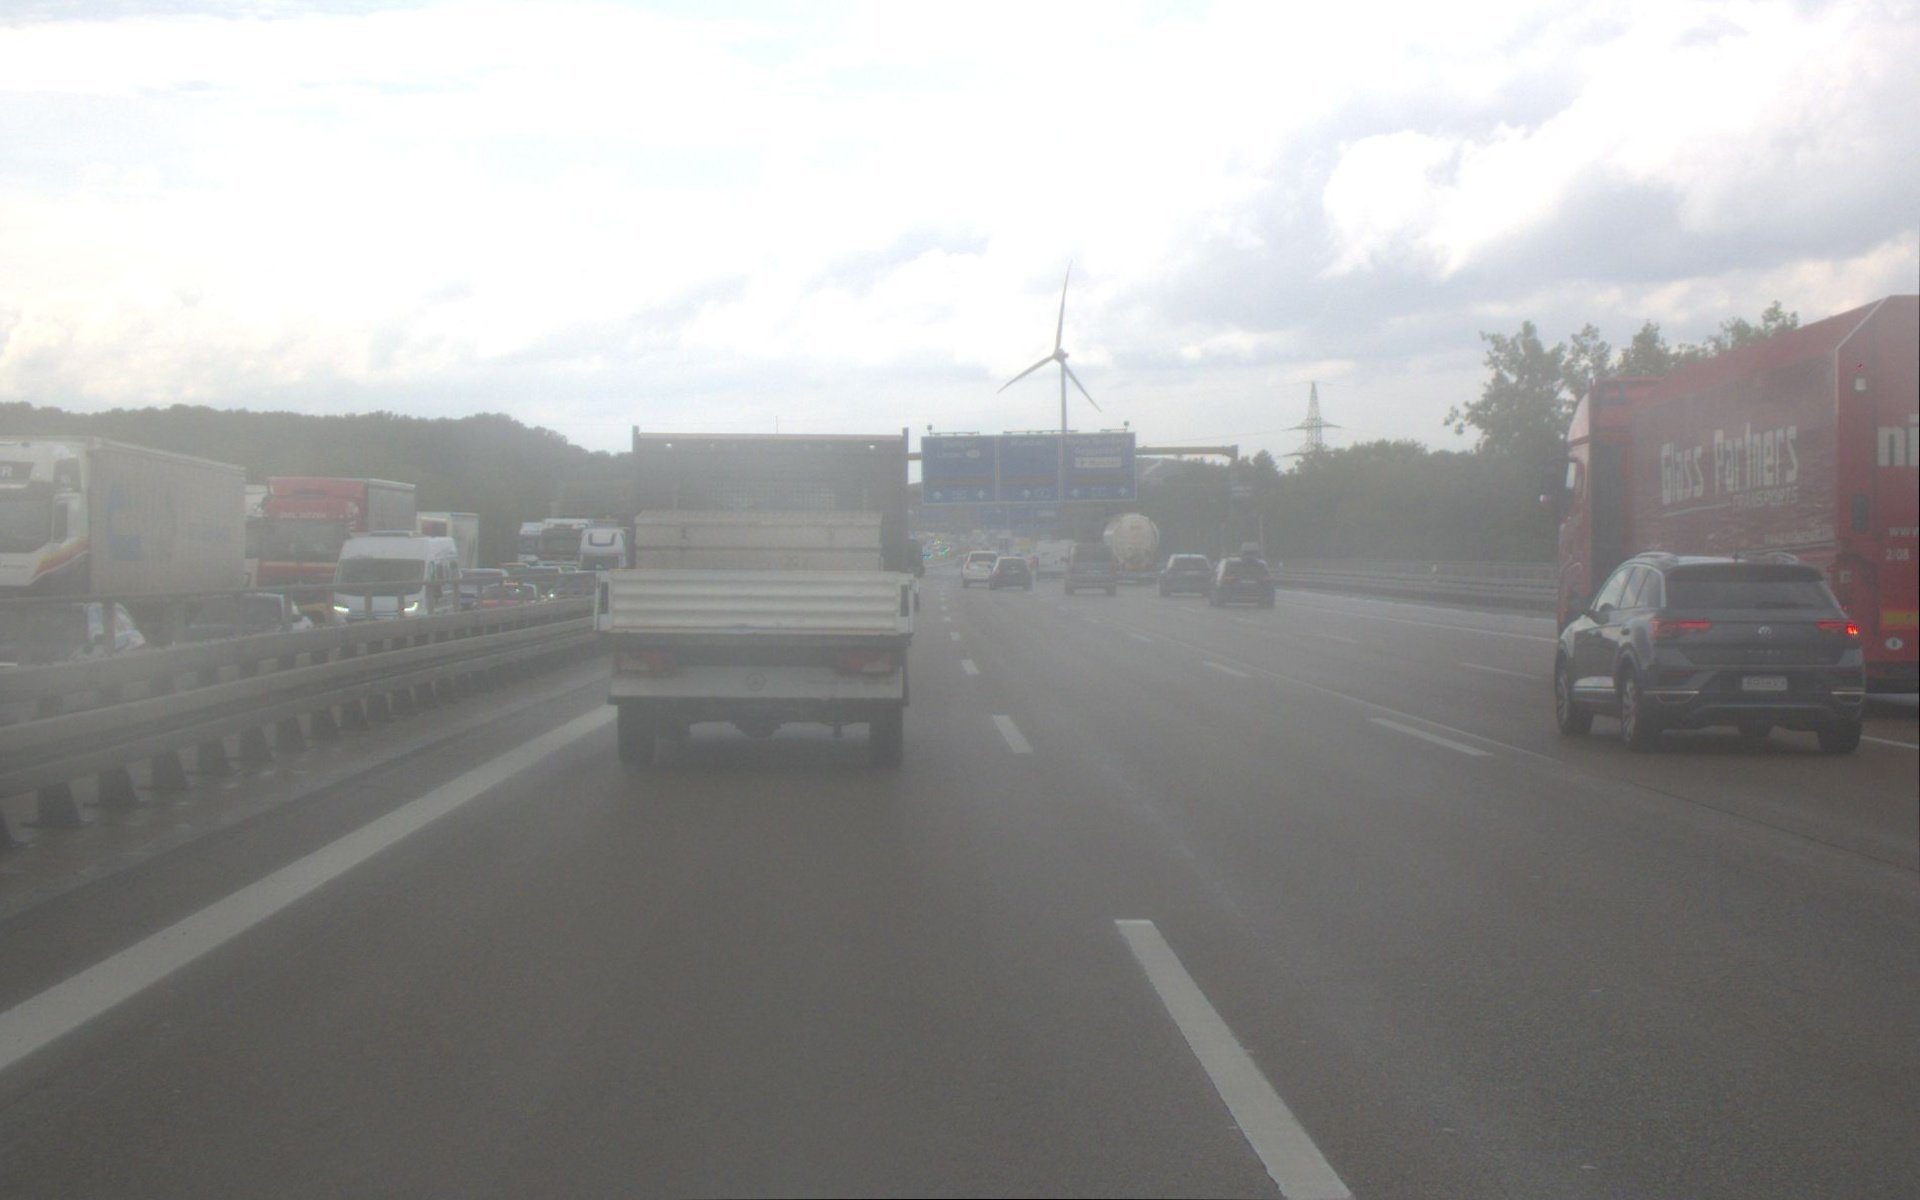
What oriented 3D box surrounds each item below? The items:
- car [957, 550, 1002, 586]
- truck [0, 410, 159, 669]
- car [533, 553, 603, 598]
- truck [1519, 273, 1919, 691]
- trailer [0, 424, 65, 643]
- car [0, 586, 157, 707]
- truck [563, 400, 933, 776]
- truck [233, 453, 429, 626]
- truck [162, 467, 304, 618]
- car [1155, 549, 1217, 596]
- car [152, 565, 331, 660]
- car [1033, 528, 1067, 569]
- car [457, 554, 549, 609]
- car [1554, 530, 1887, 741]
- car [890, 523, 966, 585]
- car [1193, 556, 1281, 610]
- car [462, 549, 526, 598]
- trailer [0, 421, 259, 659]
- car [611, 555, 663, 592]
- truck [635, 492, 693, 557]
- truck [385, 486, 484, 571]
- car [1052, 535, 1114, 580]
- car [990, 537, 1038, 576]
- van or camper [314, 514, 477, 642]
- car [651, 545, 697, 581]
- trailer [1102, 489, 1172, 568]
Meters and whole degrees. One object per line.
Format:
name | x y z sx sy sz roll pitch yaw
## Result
car | 0.937 -1.549 165.769 1.972 1.693 4.001 0 1 -3
truck | -16.136 -1.033 59.428 2.880 4.166 7.558 -1 1 -1
car | -12.902 -0.818 113.281 1.832 1.447 4.000 -1 1 0
truck | 9.485 -1.300 40.705 3.152 3.989 15.638 0 1 0
trailer | -19.569 -1.206 62.774 2.880 4.131 13.029 -1 1 1
car | -11.915 0.556 44.138 2.014 1.382 5.460 -1 1 -1
truck | -1.531 -0.156 25.848 2.353 2.400 7.359 1 1 -3
truck | -16.201 -1.574 89.558 2.984 4.134 12.524 -1 1 -1
truck | -20.023 -1.581 94.920 2.845 4.015 4.964 1 1 0
car | 8.592 -1.073 130.952 2.045 1.693 5.007 0 1 0
car | -11.718 0.172 56.366 1.922 1.414 5.165 -1 1 -1
car | 5.504 -3.152 210.441 2.045 2.489 4.000 0 1 0
car | -12.548 -0.528 94.681 1.922 1.414 5.012 -1 1 -1
car | 5.978 0.238 27.431 1.792 1.557 3.722 0 1 0
car | -0.872 -1.307 96.579 2.045 1.693 4.000 0 1 0
car | 8.648 -0.549 107.717 2.105 1.600 5.066 0 1 -3
car | -16.007 -0.940 118.218 1.763 1.619 4.781 -1 1 -3
trailer | -16.234 -1.157 66.427 2.880 4.131 13.029 -1 1 -1
car | -12.599 -1.053 134.217 1.573 1.349 4.384 -1 1 0
truck | -19.641 -5.034 228.265 3.177 4.179 7.738 -1 1 0
truck | -24.946 -3.376 163.703 3.225 3.896 10.282 1 1 -1
car | 4.809 -1.681 134.485 2.097 1.693 4.001 0 1 -3
car | 2.359 -1.914 151.184 2.045 1.693 4.000 0 1 0
van or camper | -11.630 -0.492 71.369 2.278 2.487 7.303 -1 1 -1
car | -12.680 -1.664 152.600 1.719 1.497 5.503 -1 1 -2
trailer | 9.670 -3.908 189.130 3.333 4.161 11.838 1 1 1
